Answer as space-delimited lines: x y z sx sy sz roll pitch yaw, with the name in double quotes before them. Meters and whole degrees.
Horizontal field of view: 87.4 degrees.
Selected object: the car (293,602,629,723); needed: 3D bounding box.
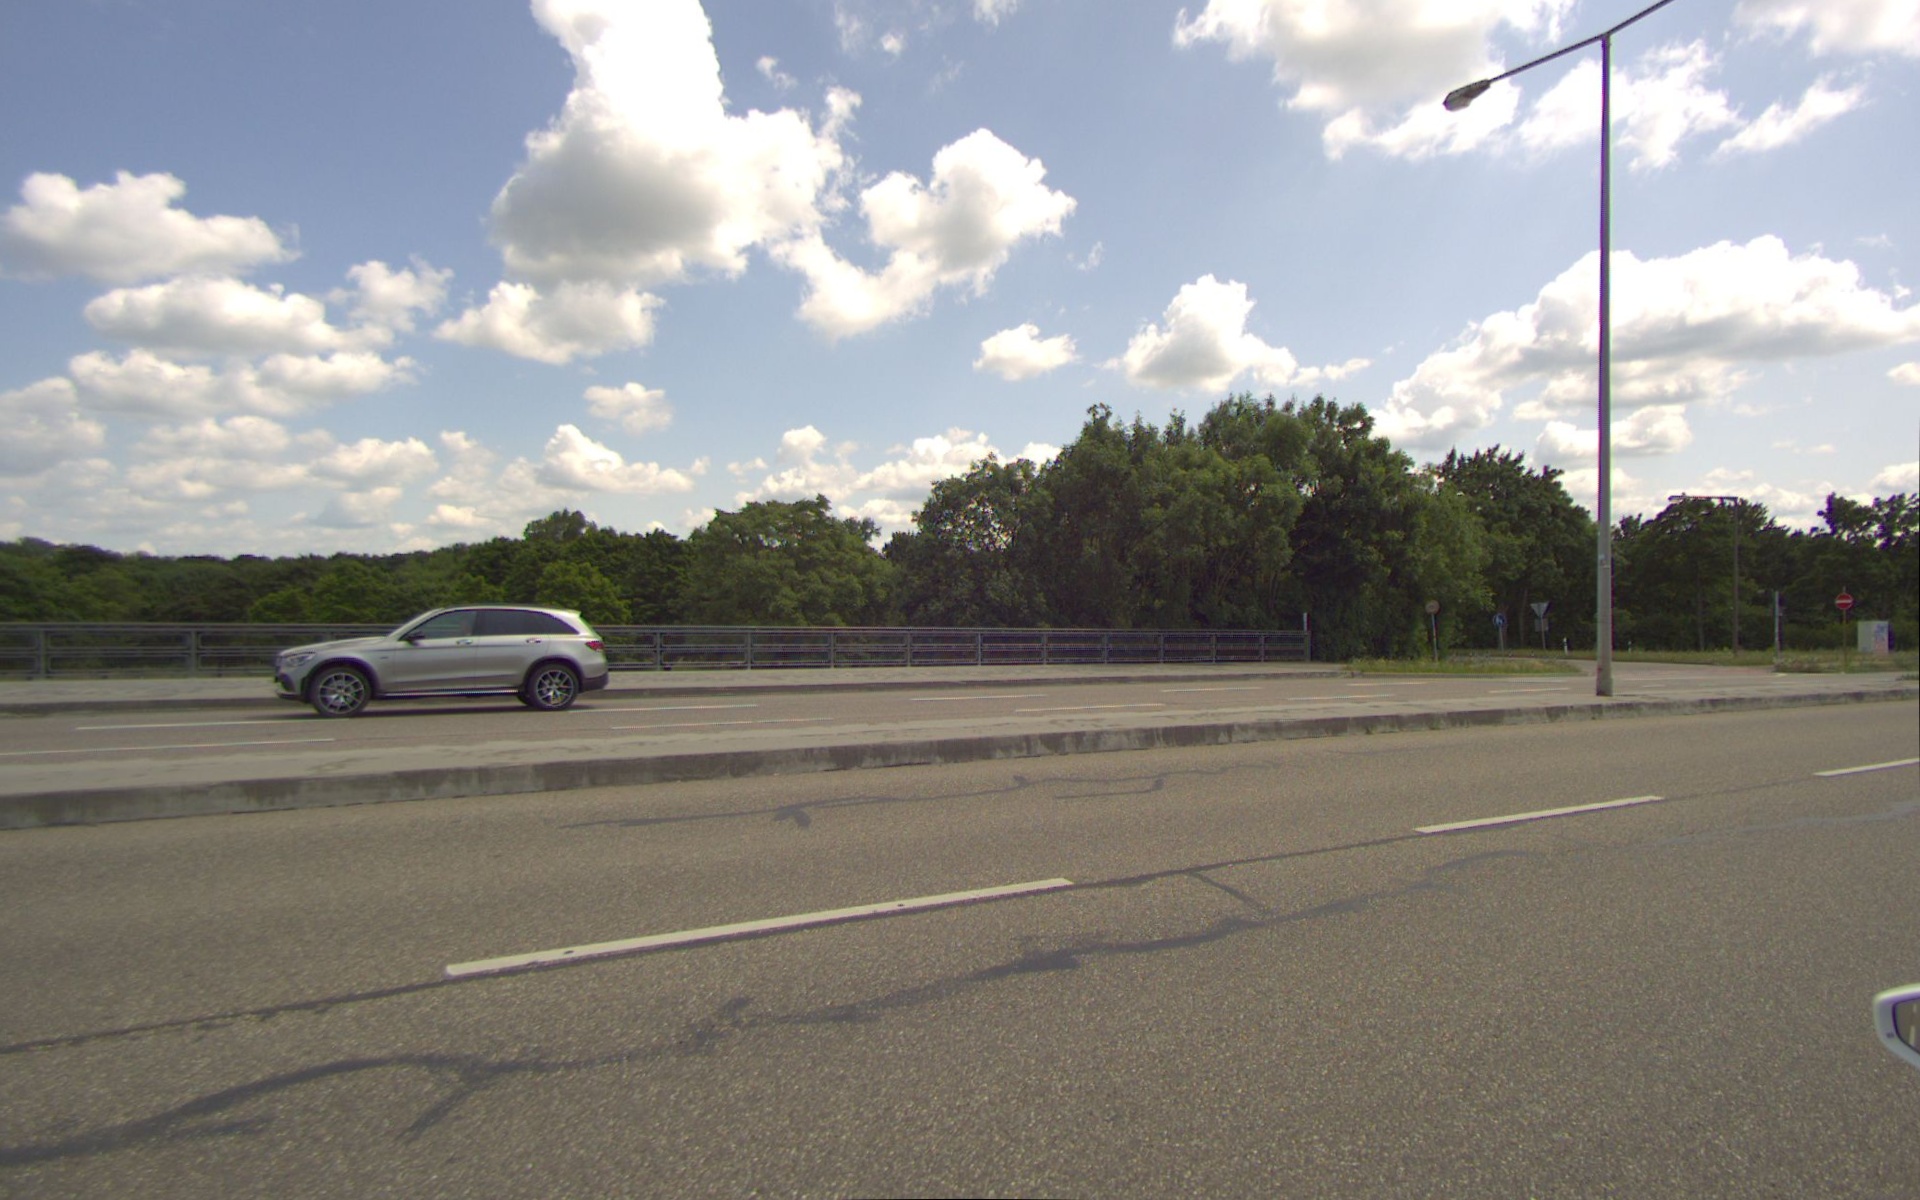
"car" -7.778 0.910 15.862 4.498 1.647 2.078 0 -3 -32
